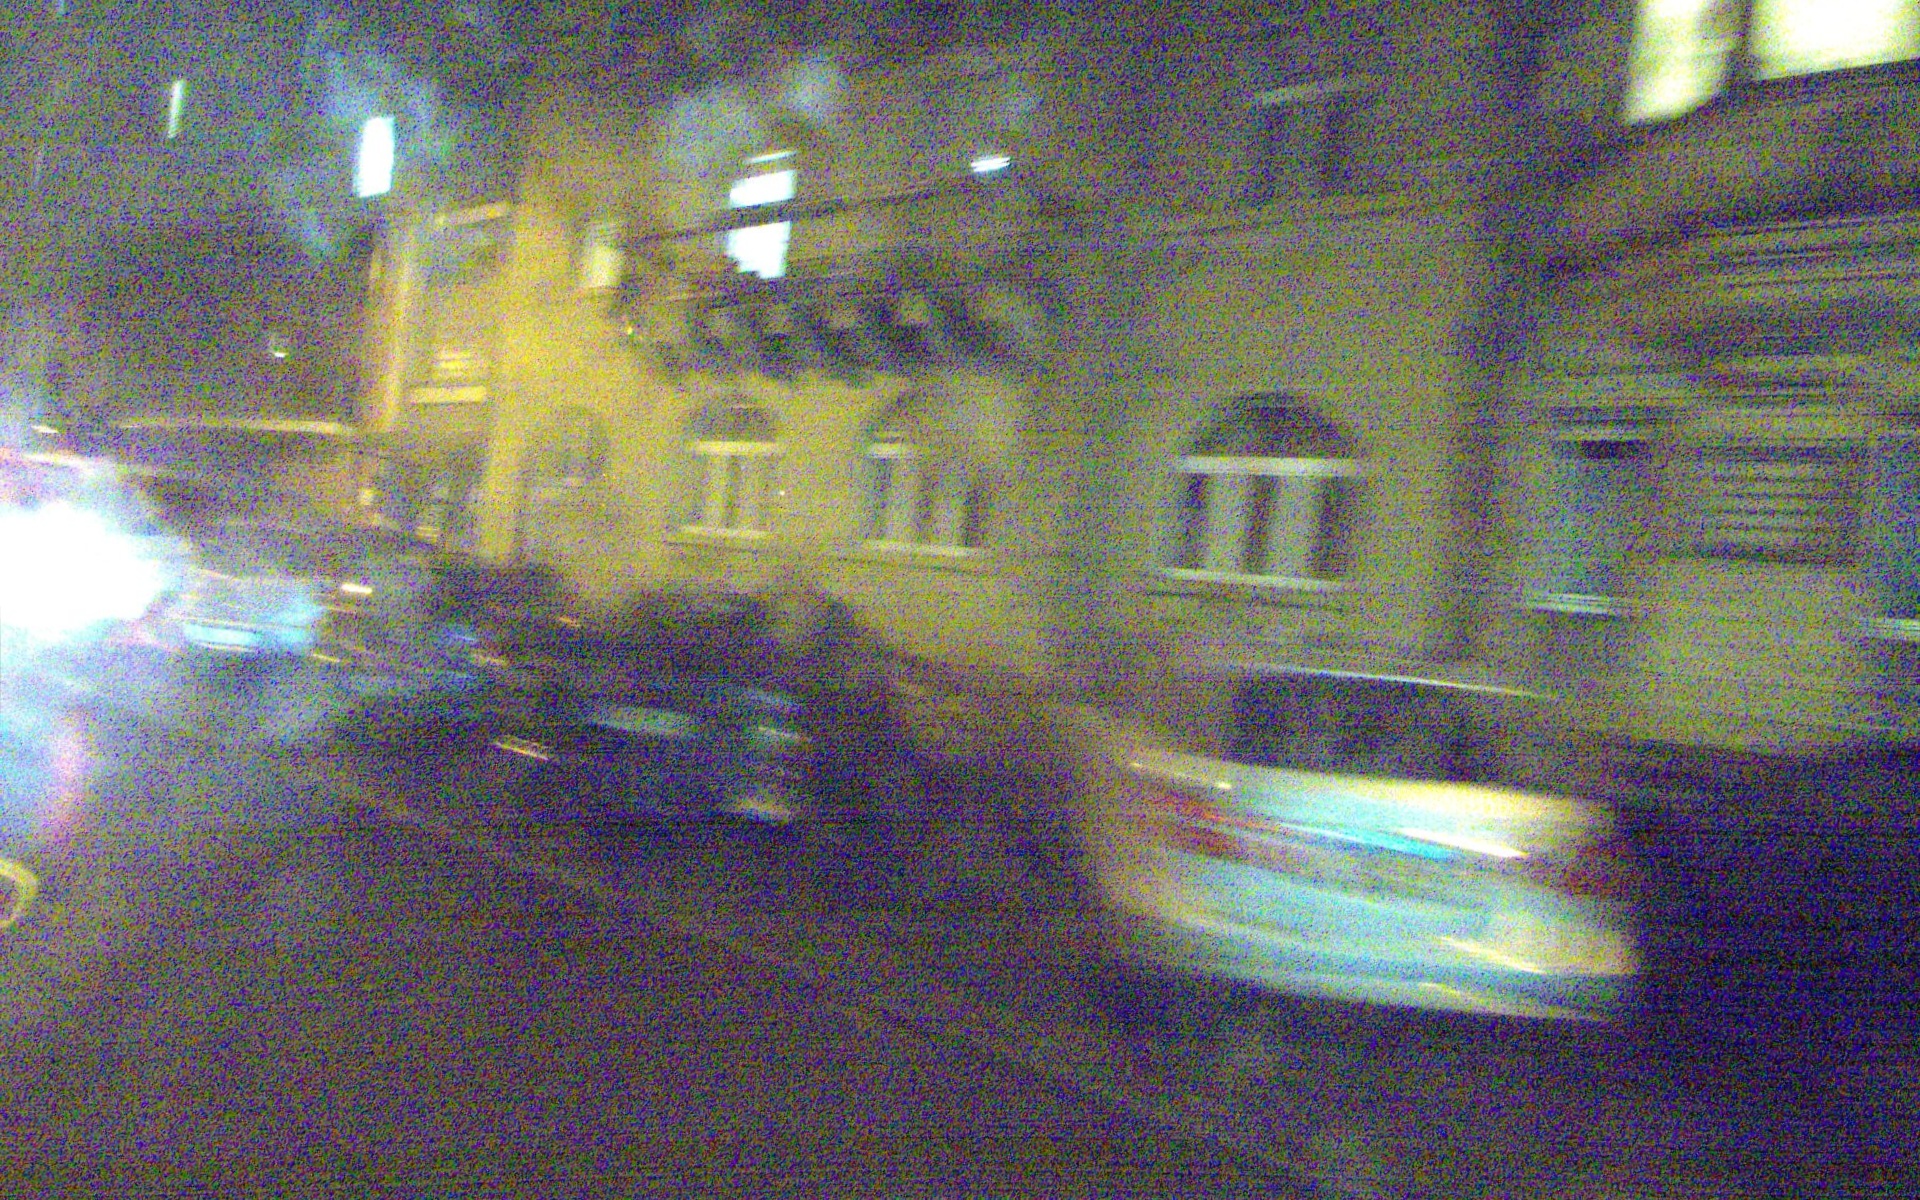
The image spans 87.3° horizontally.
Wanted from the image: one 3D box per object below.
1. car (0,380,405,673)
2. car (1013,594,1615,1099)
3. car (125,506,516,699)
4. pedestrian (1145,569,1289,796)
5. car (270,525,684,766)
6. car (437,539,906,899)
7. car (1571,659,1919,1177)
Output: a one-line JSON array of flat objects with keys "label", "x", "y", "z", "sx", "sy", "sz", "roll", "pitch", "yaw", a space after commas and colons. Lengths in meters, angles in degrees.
[{"label": "car", "x": -8.530, "y": -0.675, "z": 10.861, "sx": 2.191, "sy": 2.369, "sz": 4.941, "roll": 7, "pitch": 0, "yaw": -1}, {"label": "car", "x": 1.318, "y": 0.873, "z": 5.203, "sx": 1.566, "sy": 1.580, "sz": 3.510, "roll": 7, "pitch": 0, "yaw": -3}, {"label": "car", "x": -6.252, "y": 0.026, "z": 10.342, "sx": 1.599, "sy": 1.487, "sz": 3.454, "roll": 6, "pitch": 0, "yaw": 3}, {"label": "pedestrian", "x": 2.335, "y": 0.718, "z": 9.116, "sx": 0.829, "sy": 1.865, "sz": 0.746, "roll": 9, "pitch": 3, "yaw": 32}, {"label": "car", "x": -3.815, "y": 0.285, "z": 8.713, "sx": 1.583, "sy": 1.487, "sz": 3.728, "roll": 6, "pitch": 1, "yaw": 2}, {"label": "car", "x": -1.555, "y": 0.625, "z": 7.009, "sx": 1.718, "sy": 1.580, "sz": 4.054, "roll": 7, "pitch": -1, "yaw": 4}, {"label": "car", "x": 3.943, "y": 1.160, "z": 3.223, "sx": 1.566, "sy": 1.580, "sz": 3.395, "roll": 7, "pitch": 0, "yaw": -4}]
